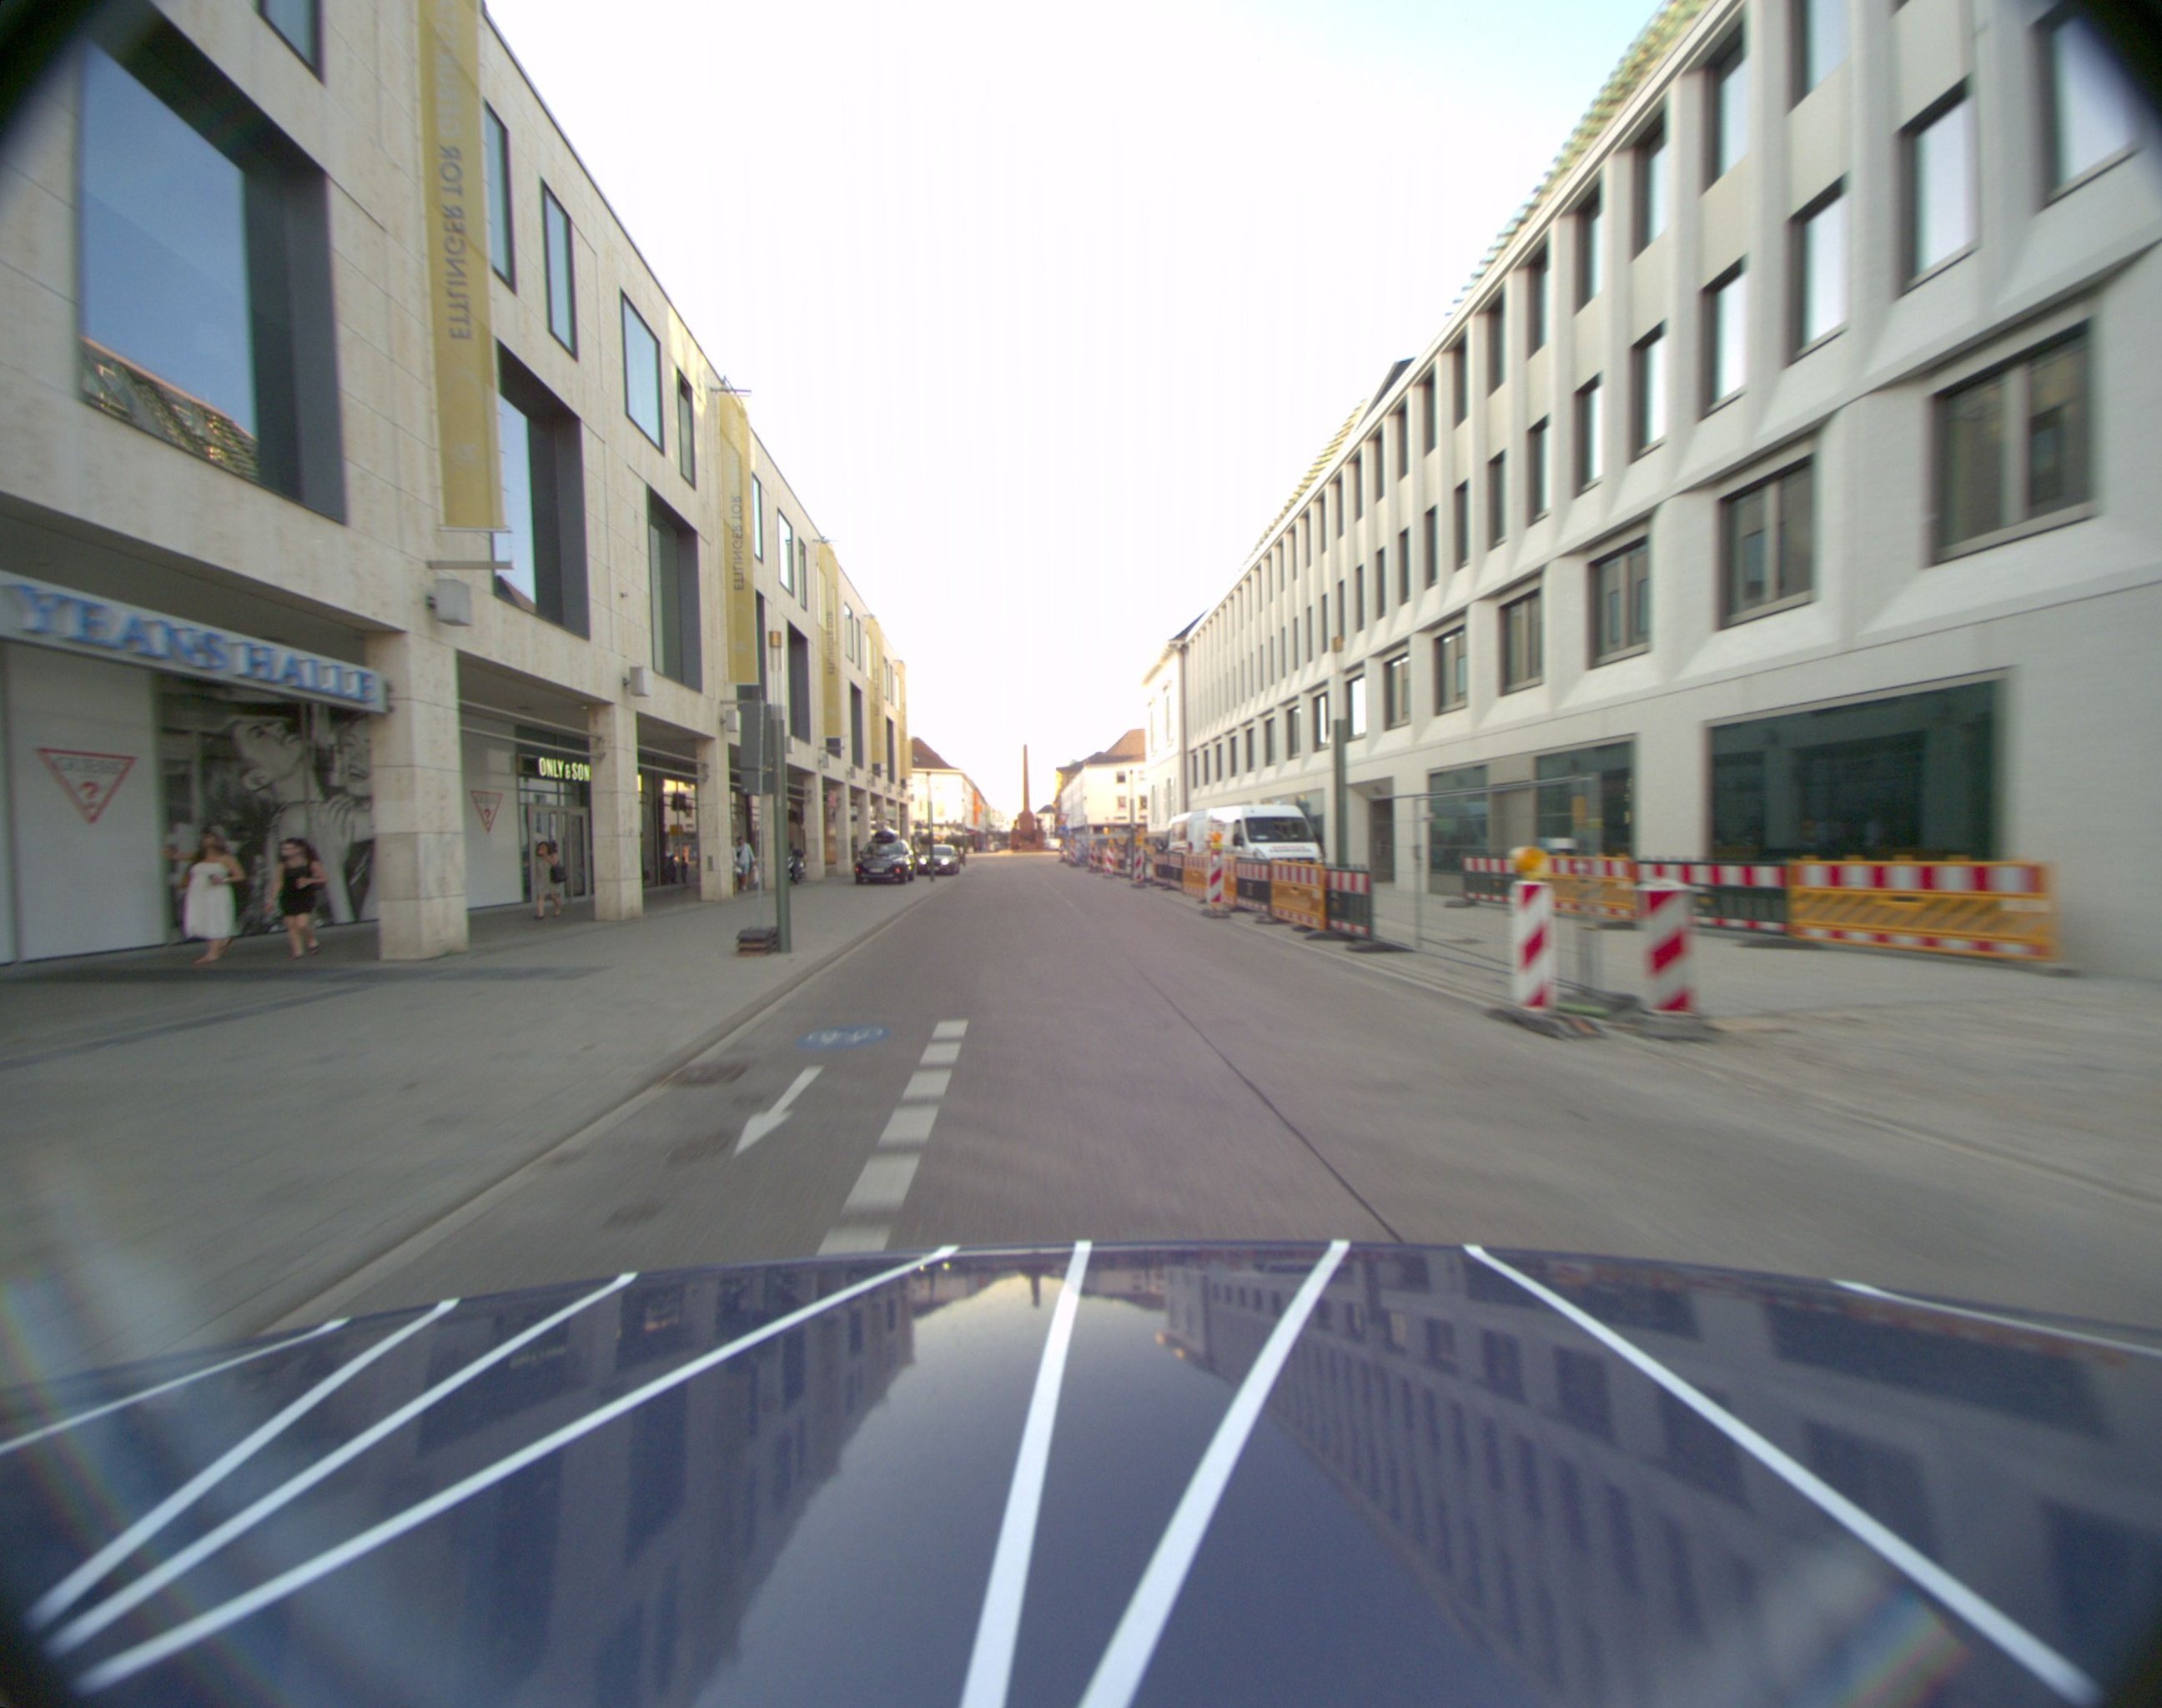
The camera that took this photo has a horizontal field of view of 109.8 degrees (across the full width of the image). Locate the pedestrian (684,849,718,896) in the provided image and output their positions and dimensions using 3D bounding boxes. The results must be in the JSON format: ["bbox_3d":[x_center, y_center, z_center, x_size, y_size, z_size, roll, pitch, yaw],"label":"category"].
[{"bbox_3d":[-11.195,0.537,22.414,0.635,1.338,0.775,-1,0,-5],"label":"pedestrian"}]

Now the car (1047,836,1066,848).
[{"bbox_3d":[-3.638,-1.778,111.907,2.022,1.815,4.454,-1,1,-11],"label":"car"}]

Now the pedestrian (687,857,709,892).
[{"bbox_3d":[-12.130,0.658,24.079,0.421,1.090,0.525,-1,0,-5],"label":"pedestrian"}]

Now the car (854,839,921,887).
[{"bbox_3d":[-7.348,0.292,29.173,1.773,1.628,4.054,2,1,-5],"label":"car"}]

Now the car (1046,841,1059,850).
[{"bbox_3d":[-4.393,-1.343,117.224,1.782,1.416,3.958,-1,1,-6],"label":"car"}]

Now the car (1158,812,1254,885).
[{"bbox_3d":[4.594,-0.251,29.012,2.180,2.456,5.995,-1,1,-5],"label":"car"}]

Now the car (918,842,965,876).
[{"bbox_3d":[-6.887,0.199,37.834,1.800,1.482,4.190,2,1,-5],"label":"car"}]

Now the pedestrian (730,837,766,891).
[{"bbox_3d":[-10.593,0.316,24.203,0.767,1.671,0.876,-1,0,-5],"label":"pedestrian"}]

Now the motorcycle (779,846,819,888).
[{"bbox_3d":[-10.063,0.425,27.159,0.694,1.408,2.134,-1,1,-3],"label":"motorcycle"}]

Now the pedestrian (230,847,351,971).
[{"bbox_3d":[-10.262,0.691,9.900,0.726,1.533,0.728,-2,2,-5],"label":"pedestrian"}]

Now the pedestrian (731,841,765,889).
[{"bbox_3d":[-11.031,0.366,25.178,0.767,1.558,0.876,-1,0,-5],"label":"pedestrian"}]

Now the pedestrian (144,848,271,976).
[{"bbox_3d":[-11.028,0.699,9.625,0.635,1.534,0.774,-2,2,-5],"label":"pedestrian"}]

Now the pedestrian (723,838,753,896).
[{"bbox_3d":[-10.126,0.382,22.472,0.592,1.689,0.695,-1,1,-7],"label":"pedestrian"}]

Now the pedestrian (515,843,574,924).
[{"bbox_3d":[-10.721,0.580,15.195,0.635,1.558,0.775,-1,0,-5],"label":"pedestrian"}]

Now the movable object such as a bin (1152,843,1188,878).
[{"bbox_3d":[3.872,0.282,33.094,1.047,1.458,1.391,-2,2,-17],"label":"movable object such as a bin"}]

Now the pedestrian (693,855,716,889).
[{"bbox_3d":[-12.509,0.601,25.252,0.488,1.090,0.601,-1,0,-5],"label":"pedestrian"}]

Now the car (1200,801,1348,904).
[{"bbox_3d":[5.208,-0.100,21.591,2.180,2.456,5.995,-1,1,-5],"label":"car"}]
